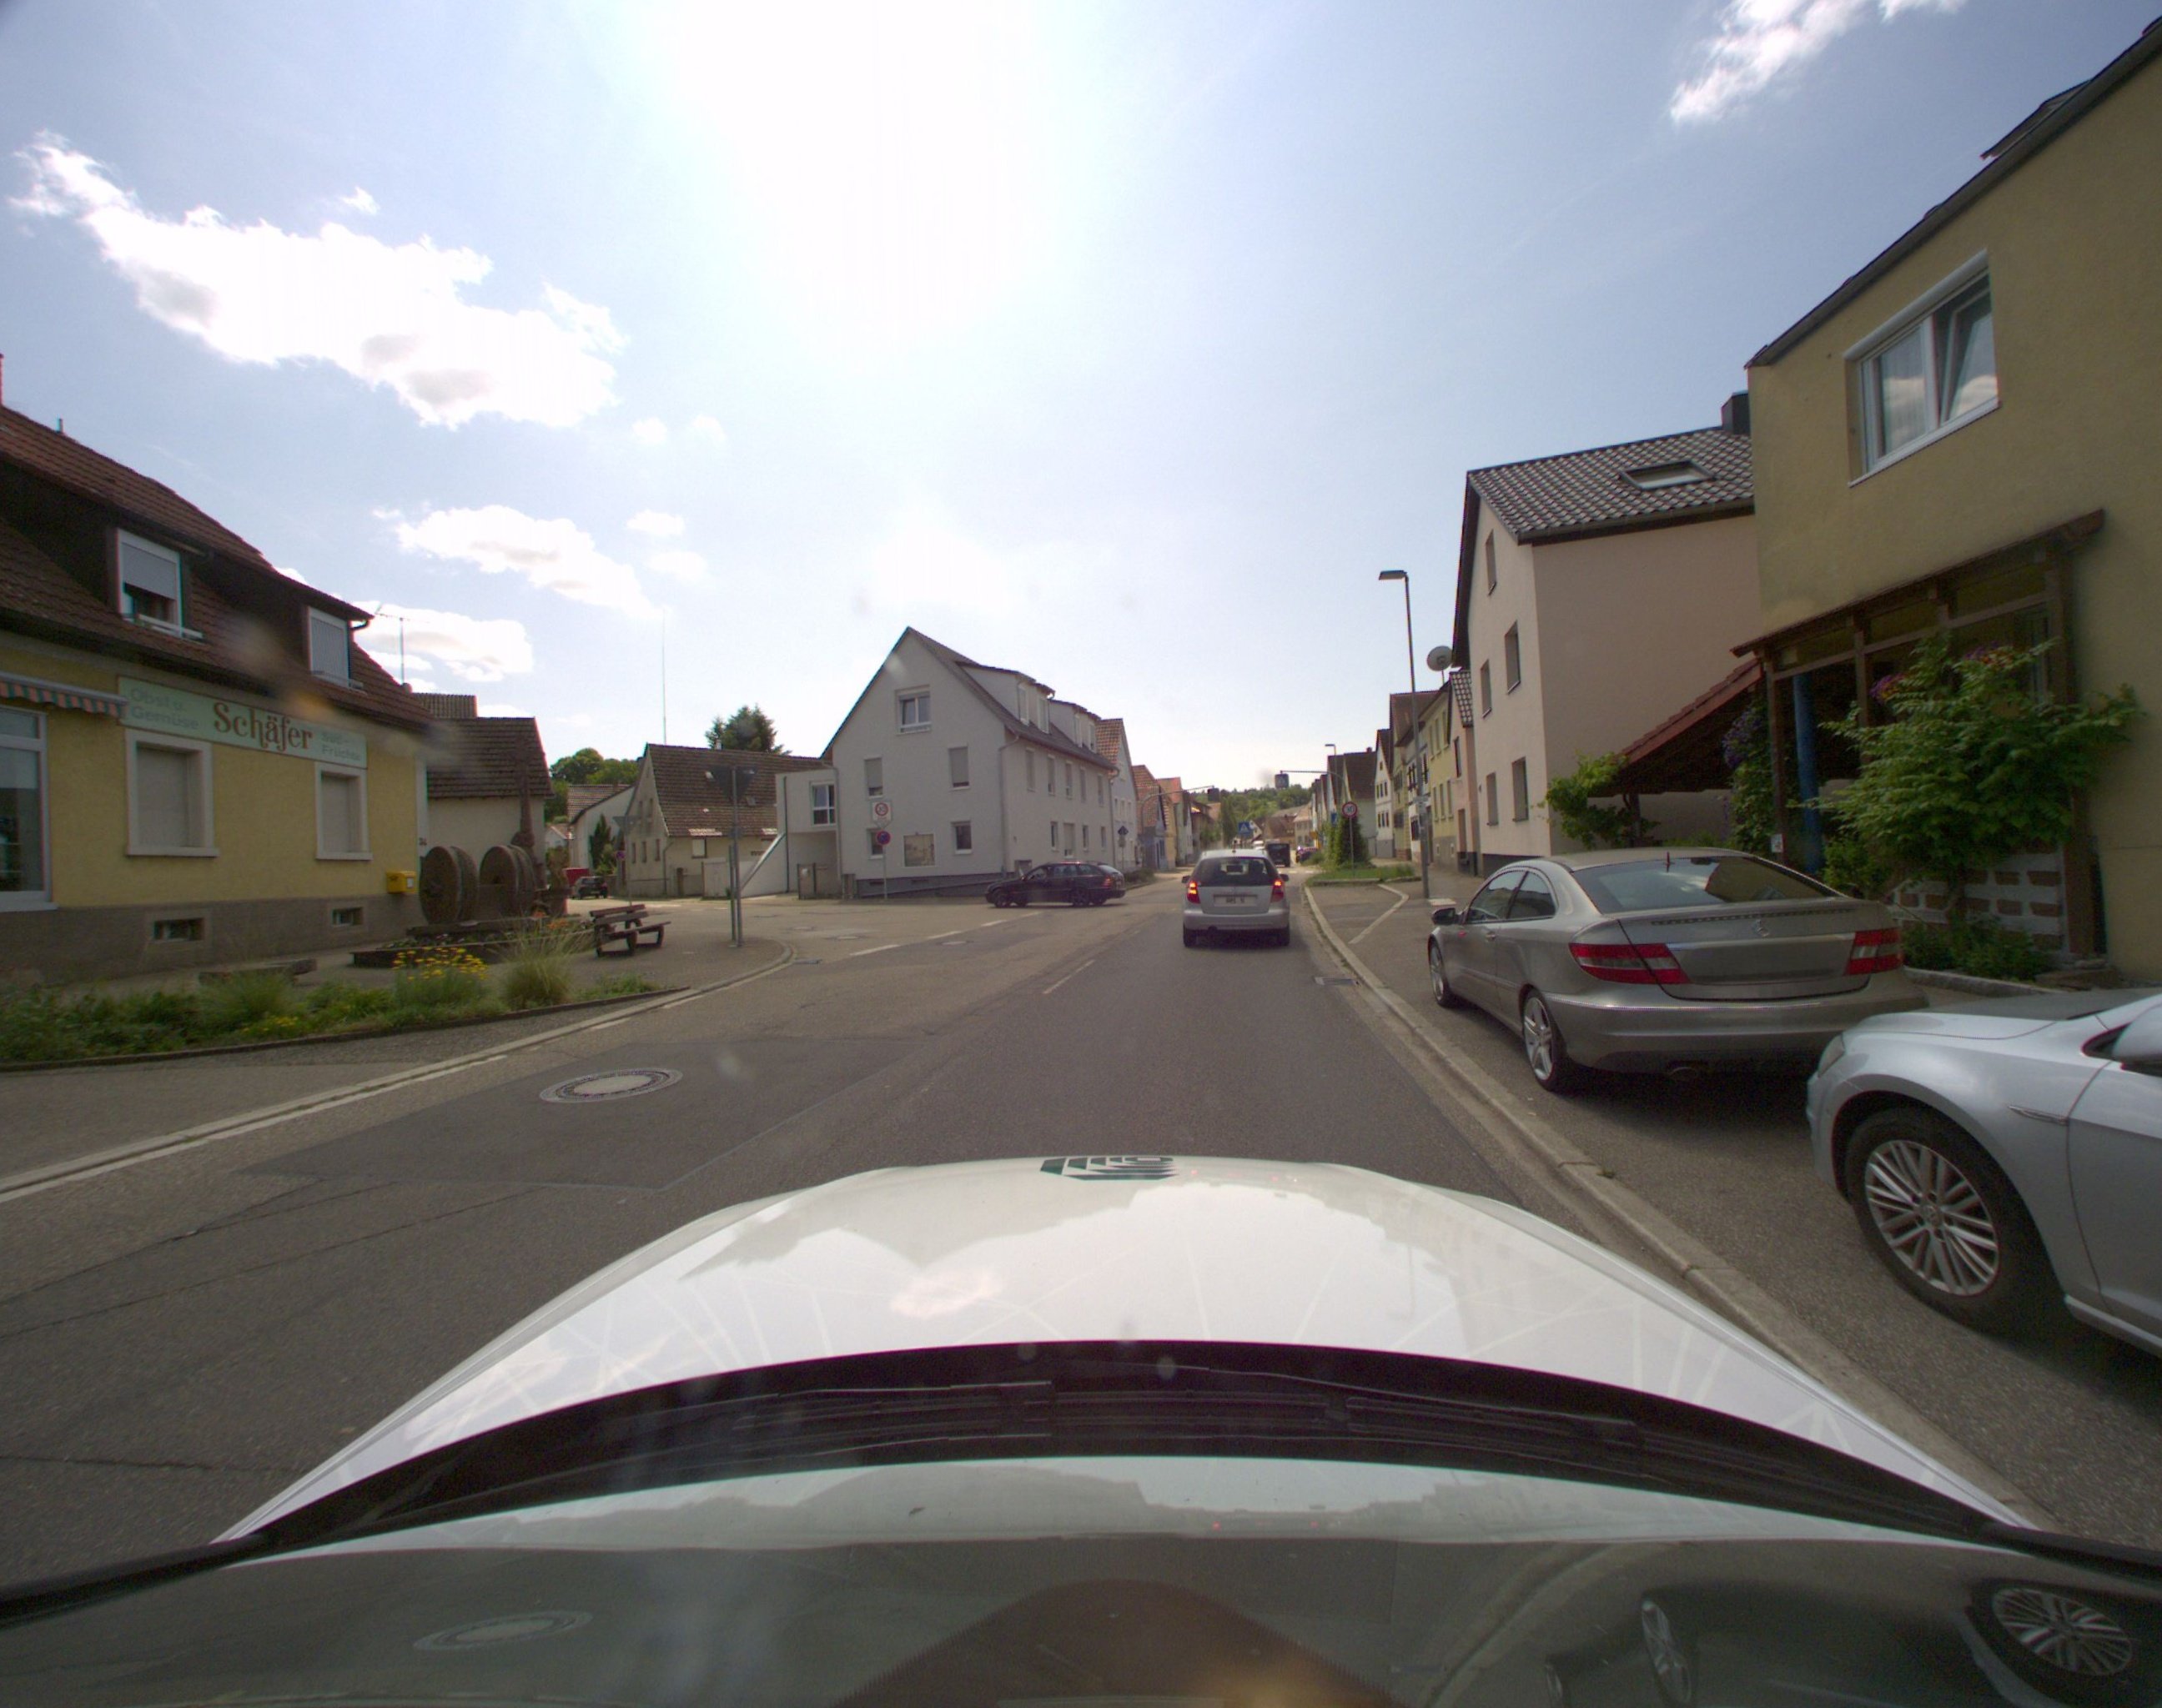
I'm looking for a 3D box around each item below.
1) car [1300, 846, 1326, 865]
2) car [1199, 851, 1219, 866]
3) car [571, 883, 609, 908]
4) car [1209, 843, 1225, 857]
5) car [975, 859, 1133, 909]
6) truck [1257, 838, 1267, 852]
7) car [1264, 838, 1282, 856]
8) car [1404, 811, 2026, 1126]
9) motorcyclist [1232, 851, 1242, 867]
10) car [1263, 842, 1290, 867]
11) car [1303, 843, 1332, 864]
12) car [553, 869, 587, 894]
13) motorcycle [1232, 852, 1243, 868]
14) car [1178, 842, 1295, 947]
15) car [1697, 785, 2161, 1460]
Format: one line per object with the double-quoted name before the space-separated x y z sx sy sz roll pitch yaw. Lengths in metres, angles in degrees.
"car" 20.240 0.144 71.210 1.979 1.508 4.014 -2 -2 13
"car" 13.168 0.476 84.021 1.982 1.321 3.717 -2 -2 8
"car" -32.349 2.719 53.633 1.499 1.530 3.433 0 -3 -43
"car" 17.123 -0.464 102.214 1.655 1.596 4.014 -2 -2 13
"car" -0.856 0.952 25.827 4.582 1.412 1.823 -2 -2 20
"truck" 38.368 -1.923 172.694 1.980 2.537 6.762 -2 -2 13
"car" 22.537 -0.801 95.636 1.980 2.014 4.014 -2 -2 13
"car" 3.866 0.622 6.122 1.759 1.400 4.437 -5 -2 11
"motorcyclist" 15.493 0.469 80.776 0.890 1.554 0.810 -2 0 13
"car" 15.623 0.078 65.269 1.980 1.816 4.013 -2 -2 12
"car" 19.013 -0.003 65.577 1.979 1.508 4.014 -2 -2 13
"car" -36.180 1.945 57.662 1.405 1.635 3.433 0 -3 -43
"motorcycle" 15.520 0.578 80.788 0.874 1.561 1.975 -2 0 13
"car" 2.837 0.654 14.778 1.799 1.643 3.741 -1 0 11
"car" 3.302 0.547 1.032 1.876 1.530 4.340 -5 -1 4
